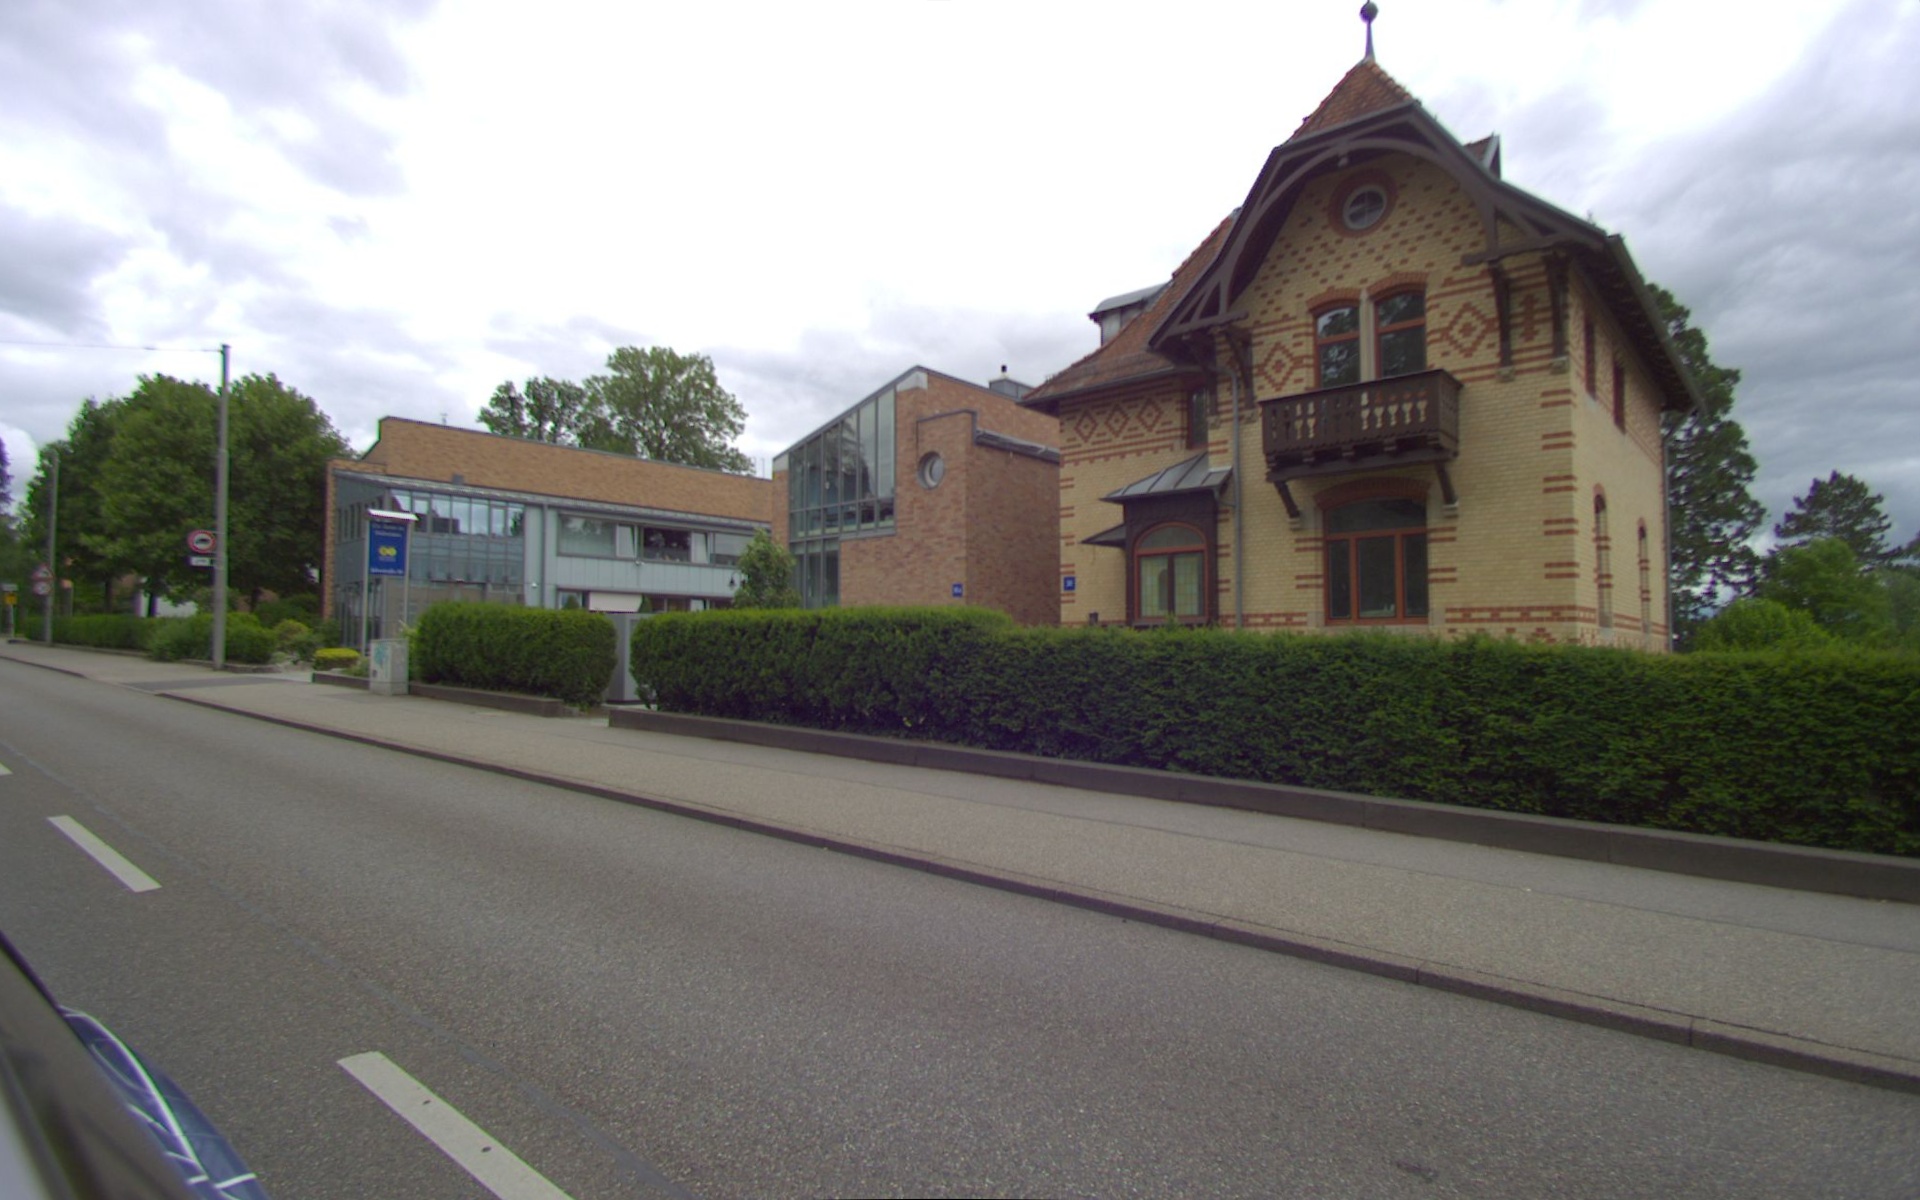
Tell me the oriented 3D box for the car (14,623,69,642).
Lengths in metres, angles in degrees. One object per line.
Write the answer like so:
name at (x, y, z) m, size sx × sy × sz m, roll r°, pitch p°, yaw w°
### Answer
car at (-86.544, 3.078, 95.389) m, size 1.967 × 1.625 × 4.009 m, roll 2°, pitch -4°, yaw -11°
